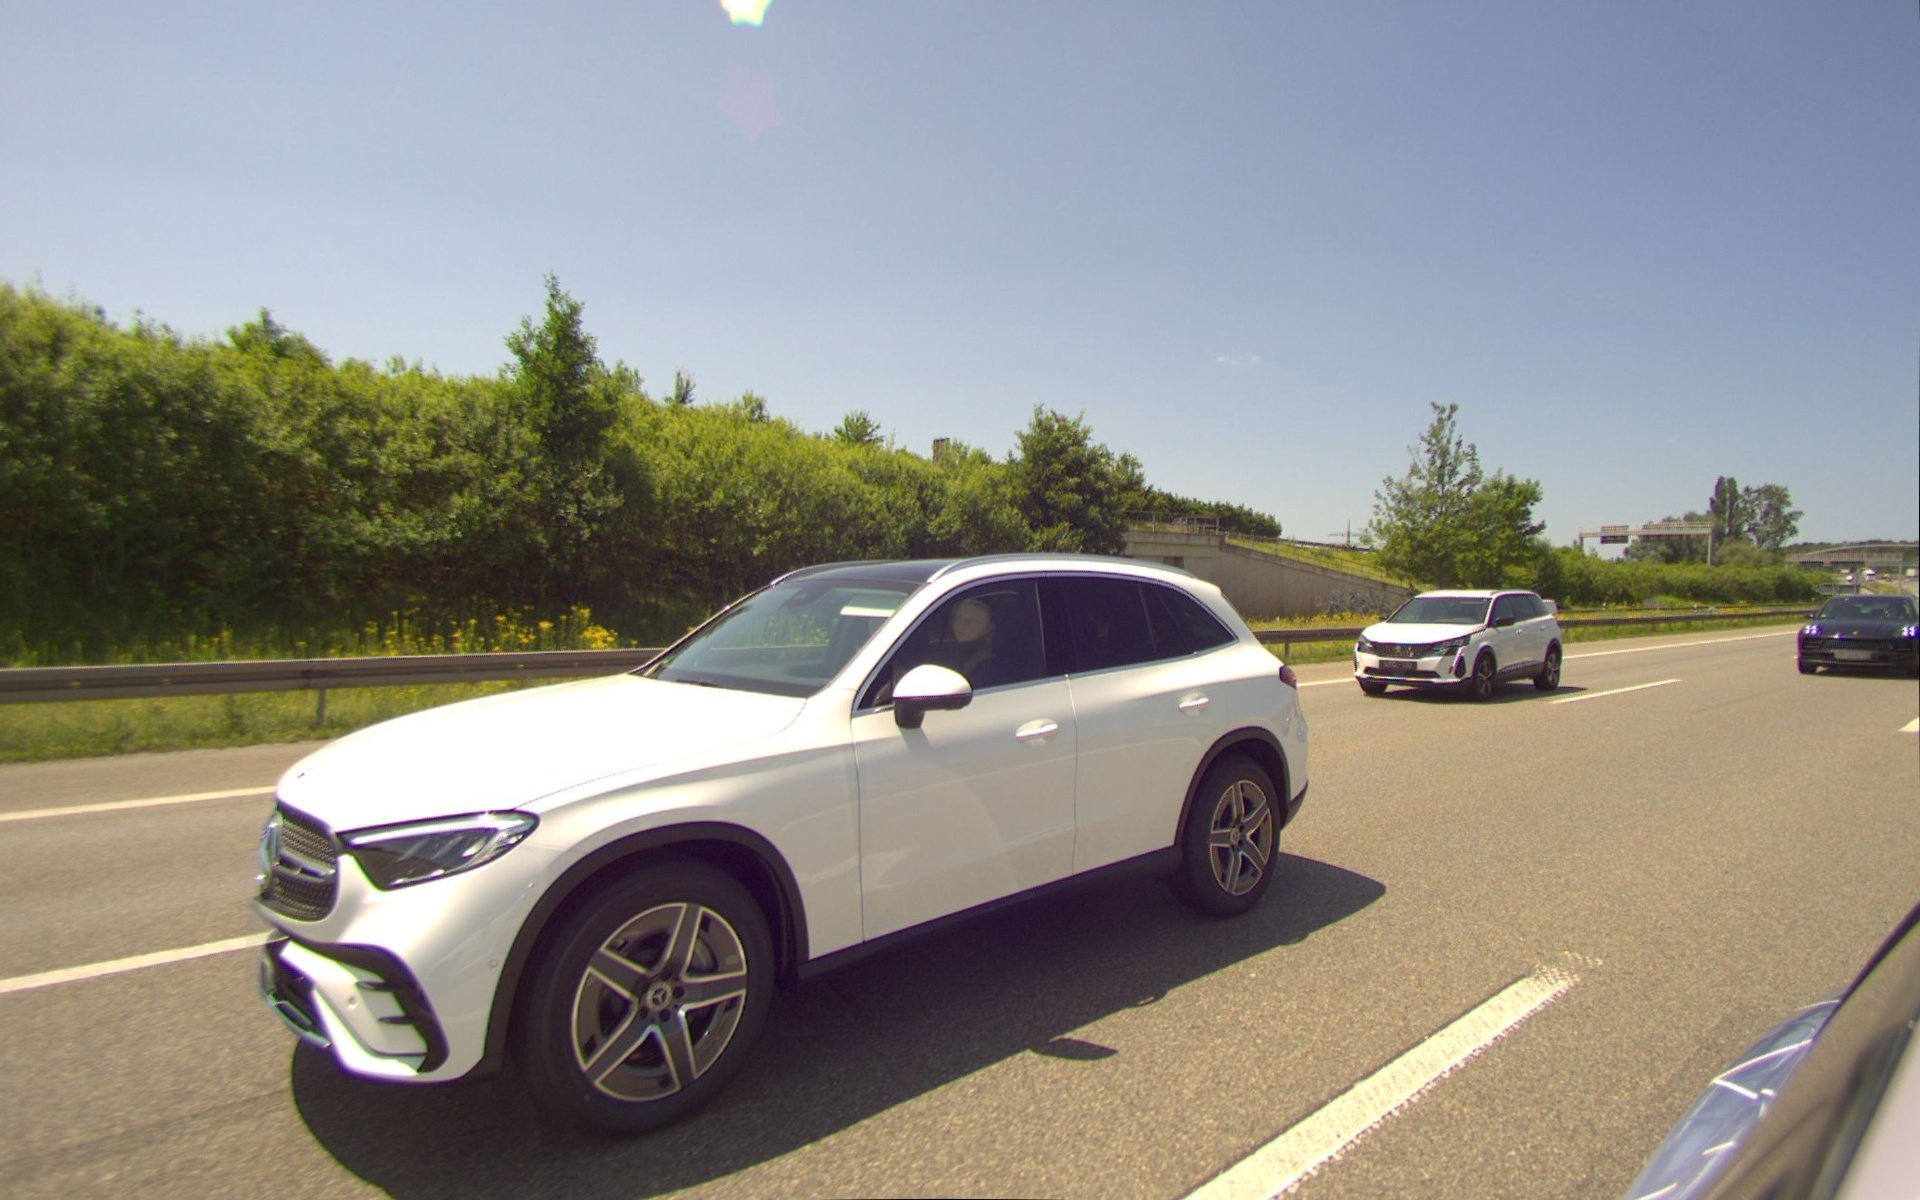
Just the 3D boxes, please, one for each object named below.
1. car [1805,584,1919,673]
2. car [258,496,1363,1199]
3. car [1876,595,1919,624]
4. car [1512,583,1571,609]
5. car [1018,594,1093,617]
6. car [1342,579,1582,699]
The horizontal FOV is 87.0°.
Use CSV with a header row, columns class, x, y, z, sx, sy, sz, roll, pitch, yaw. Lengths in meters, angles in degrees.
class,x,y,z,sx,sy,sz,roll,pitch,yaw
car,19.028,0.508,20.828,4.539,1.650,1.980,0,0,-43
car,-0.236,0.581,4.479,4.556,1.676,1.908,-1,0,-41
car,50.943,0.498,54.909,1.747,1.489,3.937,0,1,44
car,47.501,-0.317,82.630,4.666,2.039,2.003,0,1,-28
car,5.569,0.277,59.169,3.995,1.296,1.902,0,0,-28
car,8.087,0.518,16.109,4.537,1.650,1.896,0,0,-42
